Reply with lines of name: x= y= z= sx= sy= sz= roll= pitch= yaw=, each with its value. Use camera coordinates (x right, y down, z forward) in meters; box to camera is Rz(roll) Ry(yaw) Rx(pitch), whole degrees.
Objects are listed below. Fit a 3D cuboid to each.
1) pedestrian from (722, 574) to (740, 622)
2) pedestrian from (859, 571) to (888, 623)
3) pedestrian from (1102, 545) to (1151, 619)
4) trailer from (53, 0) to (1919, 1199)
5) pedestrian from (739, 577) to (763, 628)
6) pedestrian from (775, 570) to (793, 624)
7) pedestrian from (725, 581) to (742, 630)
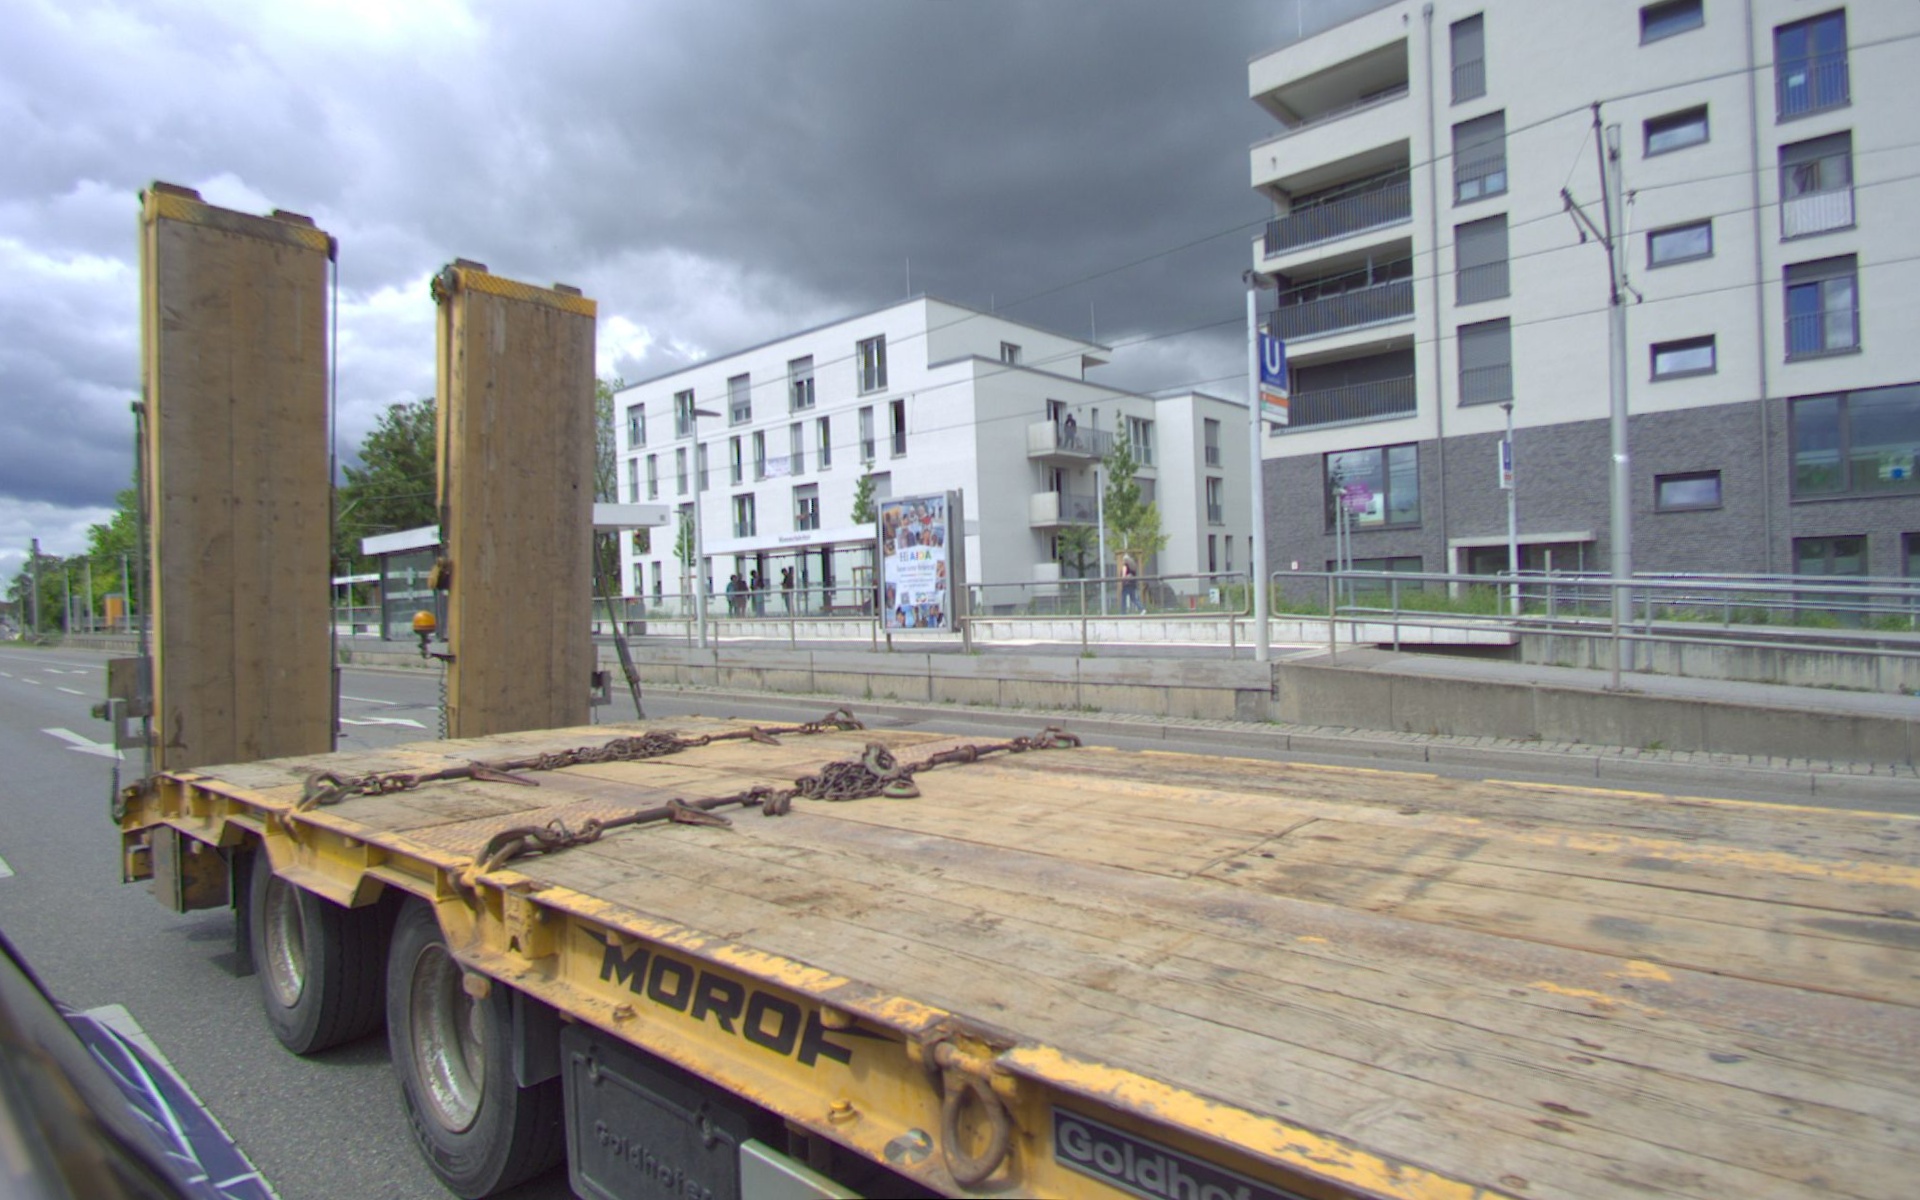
pedestrian: x=-7.913 y=-0.062 z=34.990 sx=0.481 sy=1.608 sz=0.678 roll=-2 pitch=0 yaw=-6
pedestrian: x=-2.686 y=-0.097 z=31.499 sx=0.677 sy=1.566 sz=0.555 roll=-2 pitch=0 yaw=43
pedestrian: x=4.131 y=-0.444 z=25.087 sx=0.933 sy=1.779 sz=0.669 roll=-2 pitch=0 yaw=39
trailer: x=0.558 y=-0.462 z=2.457 sx=11.247 sy=3.585 sz=2.701 roll=-2 pitch=0 yaw=41
pedestrian: x=-7.221 y=0.088 z=34.965 sx=0.669 sy=1.738 sz=0.488 roll=-2 pitch=0 yaw=7
pedestrian: x=-5.888 y=-0.093 z=33.852 sx=0.481 sy=1.779 sz=0.679 roll=-2 pitch=0 yaw=-15
pedestrian: x=-7.612 y=0.193 z=33.952 sx=0.481 sy=1.608 sz=0.679 roll=-2 pitch=0 yaw=-15
